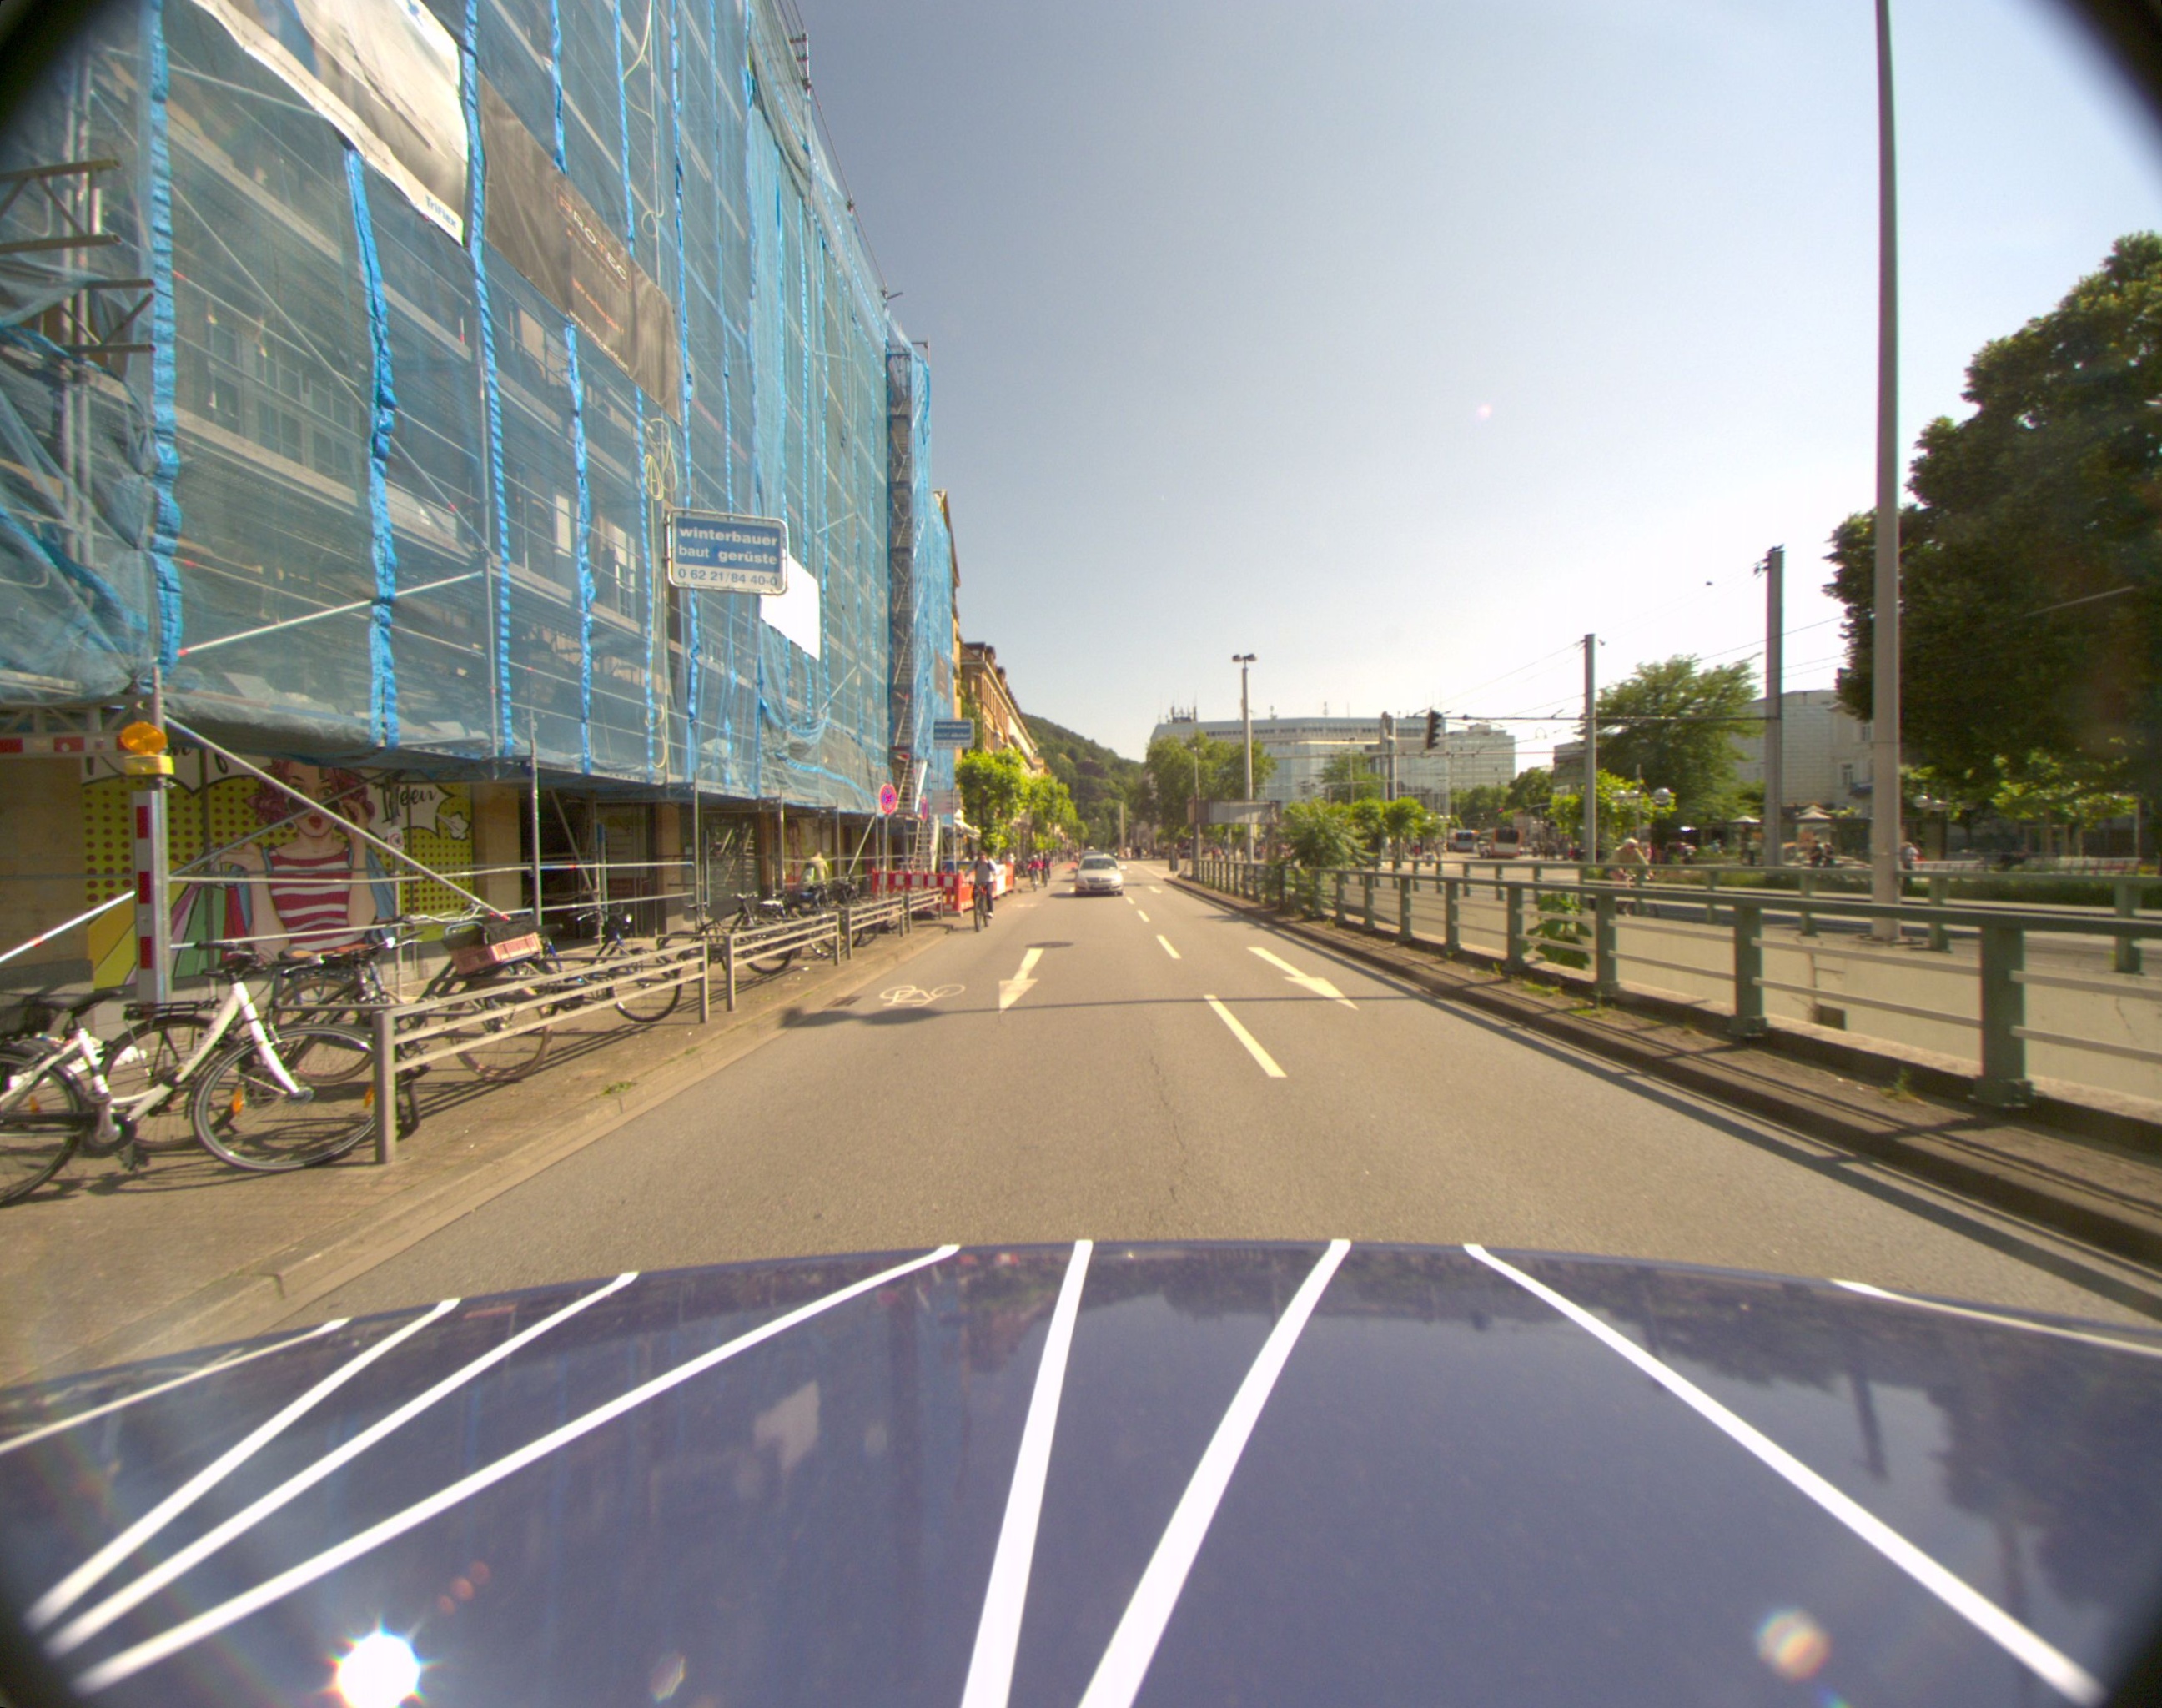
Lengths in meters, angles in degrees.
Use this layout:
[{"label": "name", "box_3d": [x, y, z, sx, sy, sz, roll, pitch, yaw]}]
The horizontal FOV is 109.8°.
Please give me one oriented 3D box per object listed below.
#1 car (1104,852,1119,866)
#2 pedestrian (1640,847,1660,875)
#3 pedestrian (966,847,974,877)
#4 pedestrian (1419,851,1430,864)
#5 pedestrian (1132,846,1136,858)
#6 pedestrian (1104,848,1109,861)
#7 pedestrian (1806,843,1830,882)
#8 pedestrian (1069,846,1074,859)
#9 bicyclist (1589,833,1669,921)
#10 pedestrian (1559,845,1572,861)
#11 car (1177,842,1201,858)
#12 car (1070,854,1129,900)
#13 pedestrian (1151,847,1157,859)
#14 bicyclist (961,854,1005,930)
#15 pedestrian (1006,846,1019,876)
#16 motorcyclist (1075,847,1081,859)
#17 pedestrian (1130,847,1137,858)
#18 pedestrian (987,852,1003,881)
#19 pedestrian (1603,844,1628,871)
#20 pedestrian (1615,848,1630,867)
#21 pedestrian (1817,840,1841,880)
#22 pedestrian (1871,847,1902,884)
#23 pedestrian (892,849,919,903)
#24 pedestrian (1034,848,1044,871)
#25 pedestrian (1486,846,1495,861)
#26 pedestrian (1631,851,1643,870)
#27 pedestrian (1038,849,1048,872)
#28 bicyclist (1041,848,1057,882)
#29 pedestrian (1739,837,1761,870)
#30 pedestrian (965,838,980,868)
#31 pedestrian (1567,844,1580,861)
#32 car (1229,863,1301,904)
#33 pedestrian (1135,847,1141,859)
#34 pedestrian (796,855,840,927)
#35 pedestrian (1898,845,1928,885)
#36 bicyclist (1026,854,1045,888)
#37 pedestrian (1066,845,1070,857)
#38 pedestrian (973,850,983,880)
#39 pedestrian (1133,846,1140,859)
[{"label": "car", "box_3d": [4.743, 0.737, 118.615, 1.999, 2.002, 3.999, -3, 1, -1]}, {"label": "pedestrian", "box_3d": [35.211, 0.449, 47.005, 0.678, 1.696, 0.705, 1, 1, 0]}, {"label": "pedestrian", "box_3d": [-6.226, 0.419, 42.604, 0.382, 1.673, 0.476, 0, 2, -6]}, {"label": "pedestrian", "box_3d": [26.764, 0.270, 59.227, 0.635, 0.995, 0.580, 2, 0, 4]}, {"label": "pedestrian", "box_3d": [8.014, -0.343, 114.819, 0.612, 1.737, 0.752, -2, 1, 0]}, {"label": "pedestrian", "box_3d": [3.436, 0.072, 102.511, 0.699, 1.775, 0.578, 0, 1, -4]}, {"label": "pedestrian", "box_3d": [30.357, 0.344, 31.298, 0.452, 1.600, 0.466, 1, 1, 1]}, {"label": "pedestrian", "box_3d": [-1.388, -0.274, 109.395, 0.578, 1.835, 0.717, -3, 1, -2]}, {"label": "bicyclist", "box_3d": [10.601, 0.437, 14.733, 0.819, 1.612, 0.902, 2, 0, 1]}, {"label": "pedestrian", "box_3d": [43.807, -0.089, 68.713, 0.625, 1.457, 0.680, 1, 0, -4]}, {"label": "car", "box_3d": [14.613, -0.550, 102.489, 1.995, 2.002, 5.074, -2, 1, 22]}, {"label": "car", "box_3d": [0.693, 0.780, 27.636, 1.917, 1.401, 4.000, -3, 1, 2]}, {"label": "pedestrian", "box_3d": [11.003, -0.177, 115.117, 0.751, 1.737, 0.666, -3, 1, 0]}, {"label": "bicyclist", "box_3d": [-2.108, 0.801, 16.429, 0.750, 1.568, 0.778, -3, 1, 0]}, {"label": "pedestrian", "box_3d": [-3.931, 0.390, 43.558, 0.658, 1.673, 0.653, -1, 2, -7]}, {"label": "motorcyclist", "box_3d": [-0.372, -0.089, 95.885, 0.736, 1.446, 0.707, -3, 1, 1]}, {"label": "pedestrian", "box_3d": [8.245, -0.275, 119.212, 0.876, 1.737, 0.733, -3, 1, 0]}, {"label": "pedestrian", "box_3d": [-5.579, 0.815, 49.258, 0.816, 1.838, 0.892, 1, 2, 9]}, {"label": "pedestrian", "box_3d": [36.161, 0.240, 51.402, 0.966, 1.783, 1.081, 2, 0, 10]}, {"label": "pedestrian", "box_3d": [37.044, 0.220, 52.008, 0.622, 1.256, 0.582, 2, 0, 10]}, {"label": "pedestrian", "box_3d": [30.239, 0.244, 30.727, 0.414, 1.600, 0.495, 1, 1, -1]}, {"label": "pedestrian", "box_3d": [32.582, 0.452, 30.733, 0.526, 1.484, 0.661, 1, 0, -1]}, {"label": "pedestrian", "box_3d": [-5.865, 0.728, 25.397, 0.641, 1.766, 0.649, -3, 1, 1]}, {"label": "pedestrian", "box_3d": [-3.022, 0.408, 54.778, 0.697, 1.617, 0.701, 0, 1, -10]}, {"label": "pedestrian", "box_3d": [40.853, -0.046, 75.755, 0.526, 1.457, 0.588, 1, 1, -19]}, {"label": "pedestrian", "box_3d": [35.989, 0.430, 49.173, 0.404, 1.256, 0.481, 1, 1, -17]}, {"label": "pedestrian", "box_3d": [-2.697, 0.478, 54.198, 0.601, 1.617, 0.643, 1, 1, -11]}, {"label": "bicyclist", "box_3d": [-1.506, 0.511, 36.106, 0.690, 1.568, 0.778, -3, 1, -2]}, {"label": "pedestrian", "box_3d": [40.002, -0.028, 45.426, 0.630, 1.996, 0.736, 1, 1, 6]}, {"label": "pedestrian", "box_3d": [-6.471, -0.089, 45.234, 0.669, 1.771, 0.985, 0, 1, 5]}, {"label": "pedestrian", "box_3d": [43.394, -0.130, 66.938, 0.624, 1.457, 0.681, 2, 0, 6]}, {"label": "car", "box_3d": [7.243, 1.119, 30.283, 1.699, 1.397, 3.999, 3, 0, -2]}, {"label": "pedestrian", "box_3d": [8.243, -0.168, 109.599, 0.630, 1.639, 0.753, -2, 1, 27]}, {"label": "pedestrian", "box_3d": [-6.036, 0.836, 17.467, 0.645, 1.592, 0.765, -3, 1, 2]}, {"label": "pedestrian", "box_3d": [33.797, 0.459, 30.881, 0.494, 1.600, 0.620, 1, 1, -6]}, {"label": "bicyclist", "box_3d": [-1.935, 0.732, 32.346, 0.690, 1.388, 0.778, -3, 1, 0]}, {"label": "pedestrian", "box_3d": [-1.998, -0.382, 112.991, 0.578, 1.775, 0.699, 0, 1, -2]}, {"label": "pedestrian", "box_3d": [-5.826, 0.604, 43.030, 0.499, 1.673, 0.537, 1, 2, -1]}, {"label": "pedestrian", "box_3d": [8.139, -0.195, 111.304, 0.537, 1.773, 0.745, -2, 2, 36]}]
